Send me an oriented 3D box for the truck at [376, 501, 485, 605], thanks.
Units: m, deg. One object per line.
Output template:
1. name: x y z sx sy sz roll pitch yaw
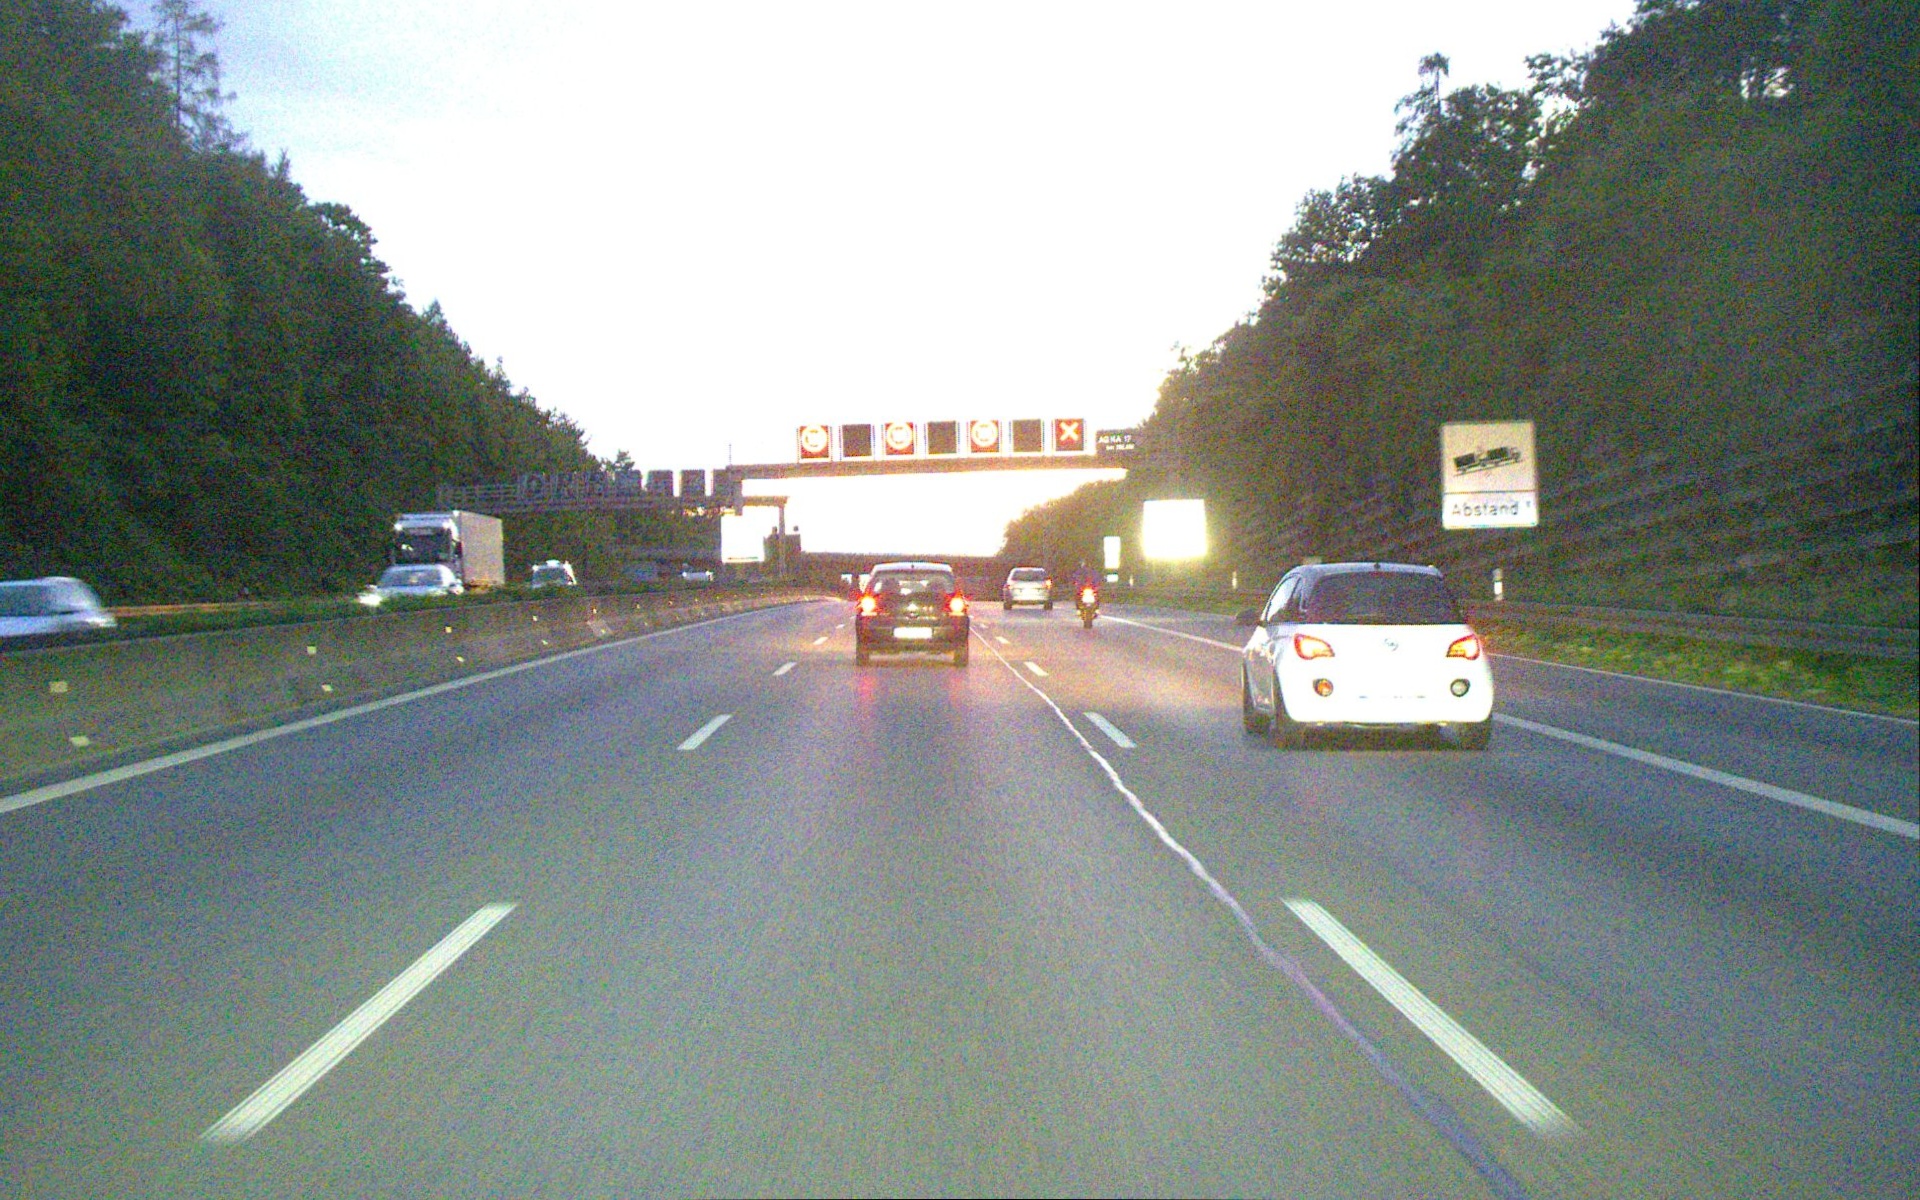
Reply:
1. truck: -20.959 -1.852 136.481 3.380 3.990 6.880 -1 1 -2

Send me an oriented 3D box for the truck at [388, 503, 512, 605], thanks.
1. truck: -21.153 -1.901 143.498 3.356 3.990 14.498 -1 1 -2

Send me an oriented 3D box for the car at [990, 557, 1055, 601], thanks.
1. car: 2.250 -0.754 124.403 1.865 1.489 4.399 1 0 -5

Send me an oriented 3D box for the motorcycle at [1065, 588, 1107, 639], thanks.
1. motorcycle: 2.874 0.306 78.656 0.829 1.130 2.476 0 0 -1

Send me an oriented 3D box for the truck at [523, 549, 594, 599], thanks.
1. truck: -20.897 -1.364 179.382 2.461 2.501 9.754 0 0 1

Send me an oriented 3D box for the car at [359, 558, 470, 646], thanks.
1. car: -12.560 0.015 79.452 1.930 1.925 5.113 -1 1 -3

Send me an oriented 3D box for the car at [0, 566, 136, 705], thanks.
1. car: -11.888 0.412 43.048 1.917 1.607 5.159 -1 1 0

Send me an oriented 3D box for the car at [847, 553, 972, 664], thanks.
1. car: -0.721 0.129 49.708 1.704 1.504 4.232 1 0 -1

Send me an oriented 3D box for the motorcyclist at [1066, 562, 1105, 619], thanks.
1. motorcyclist: 2.866 -0.212 78.588 0.829 1.287 1.190 0 0 -1

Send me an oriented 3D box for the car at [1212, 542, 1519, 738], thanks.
1. car: 3.265 0.320 28.511 1.825 1.471 4.399 1 0 -3
